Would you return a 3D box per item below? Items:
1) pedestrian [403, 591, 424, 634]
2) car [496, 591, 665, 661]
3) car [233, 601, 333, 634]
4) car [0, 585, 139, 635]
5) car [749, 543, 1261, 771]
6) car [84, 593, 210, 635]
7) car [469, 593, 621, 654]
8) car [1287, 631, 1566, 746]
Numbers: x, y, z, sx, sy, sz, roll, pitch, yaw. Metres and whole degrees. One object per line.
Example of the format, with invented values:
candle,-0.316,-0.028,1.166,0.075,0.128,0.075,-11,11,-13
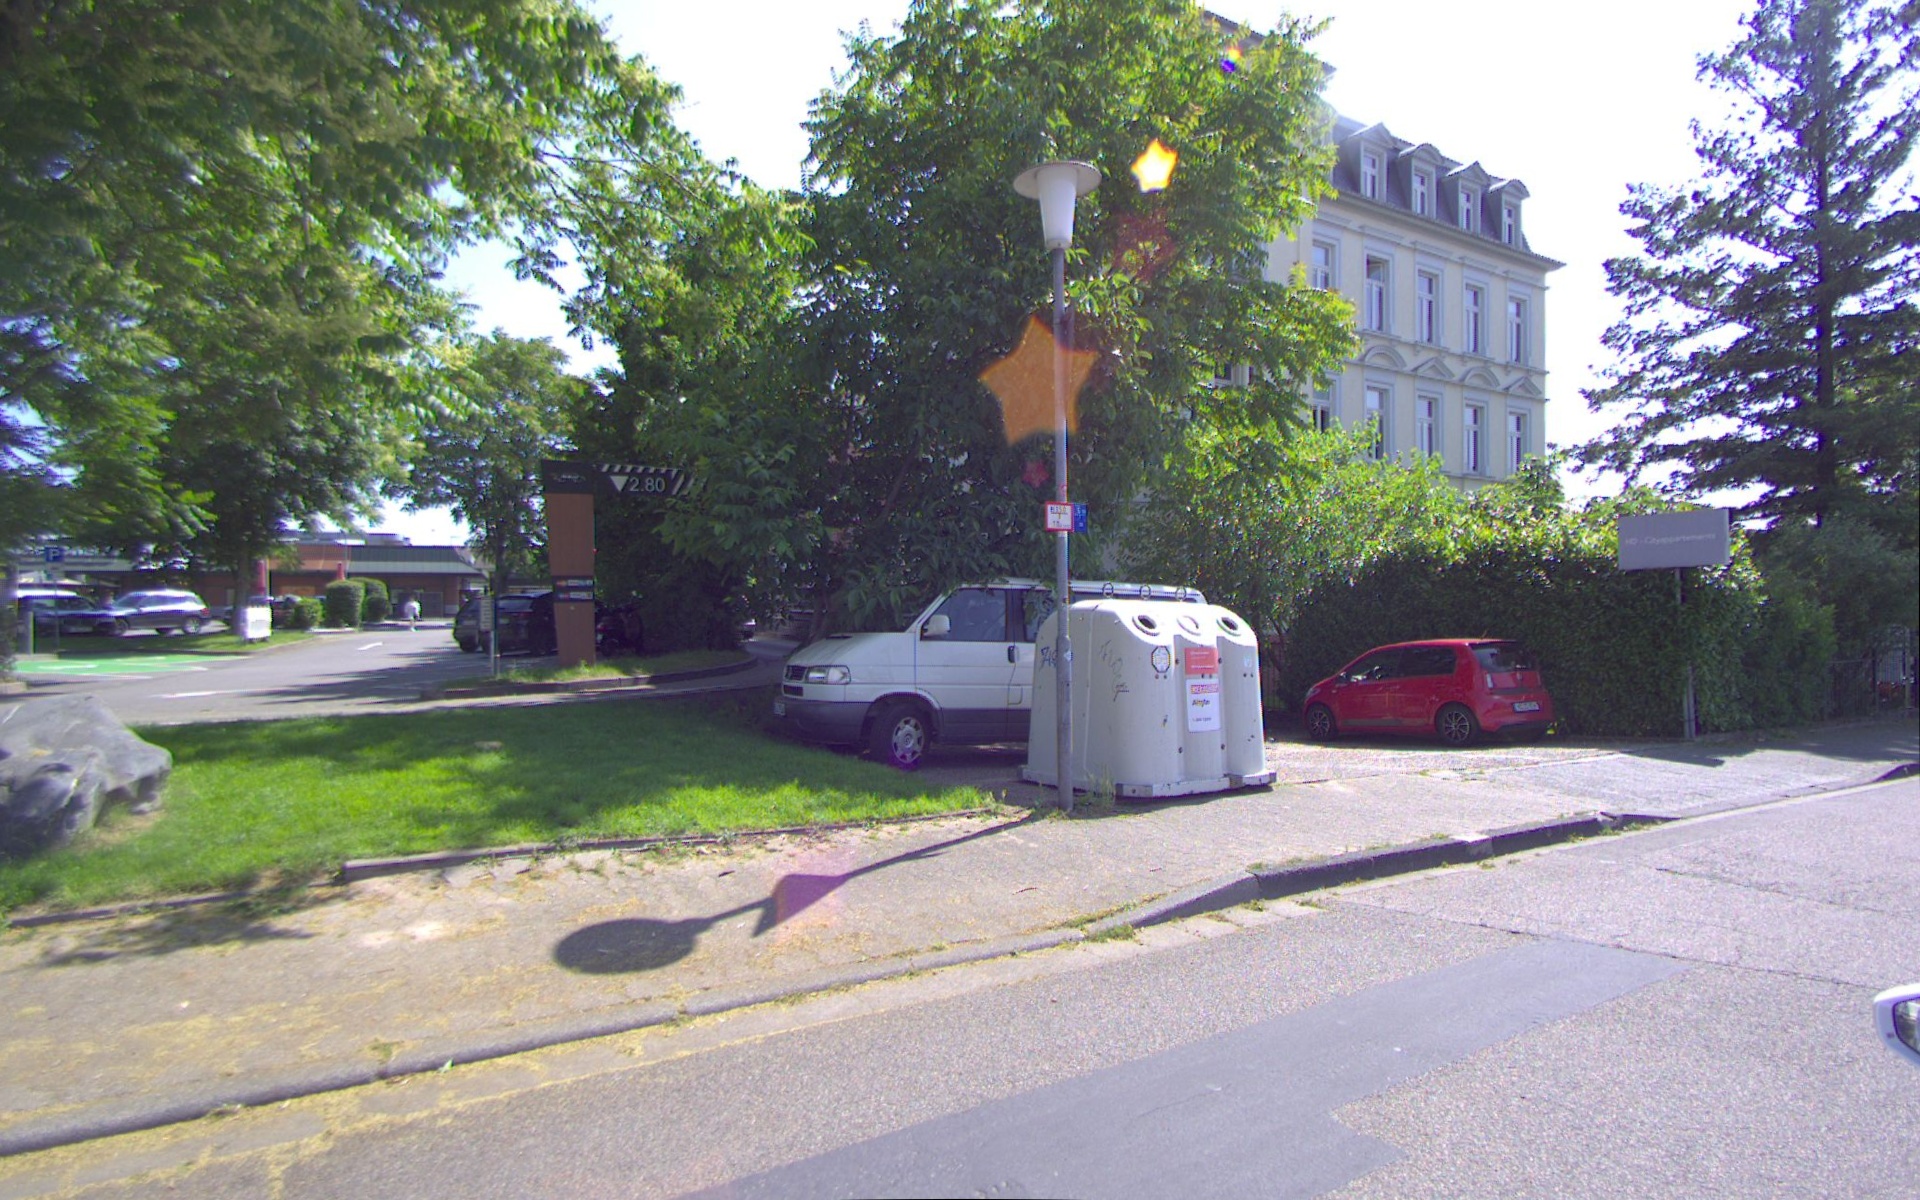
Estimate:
pedestrian,-24.052,0.565,44.221,0.732,1.878,0.705,1,-1,-35
car,-7.909,0.533,21.266,1.628,1.350,3.400,1,-1,16
car,-35.510,0.925,52.767,1.971,1.661,3.979,0,-1,42
car,-25.307,0.295,28.213,3.376,1.350,1.676,2,-1,-44
car,0.511,0.647,10.582,5.030,1.956,1.989,3,-4,-24
car,-32.319,0.564,40.050,1.666,1.577,3.519,1,-1,23
car,-9.900,0.557,24.235,1.628,1.350,3.400,1,-1,16
car,6.741,1.324,14.870,1.630,1.484,3.401,1,-6,-28
